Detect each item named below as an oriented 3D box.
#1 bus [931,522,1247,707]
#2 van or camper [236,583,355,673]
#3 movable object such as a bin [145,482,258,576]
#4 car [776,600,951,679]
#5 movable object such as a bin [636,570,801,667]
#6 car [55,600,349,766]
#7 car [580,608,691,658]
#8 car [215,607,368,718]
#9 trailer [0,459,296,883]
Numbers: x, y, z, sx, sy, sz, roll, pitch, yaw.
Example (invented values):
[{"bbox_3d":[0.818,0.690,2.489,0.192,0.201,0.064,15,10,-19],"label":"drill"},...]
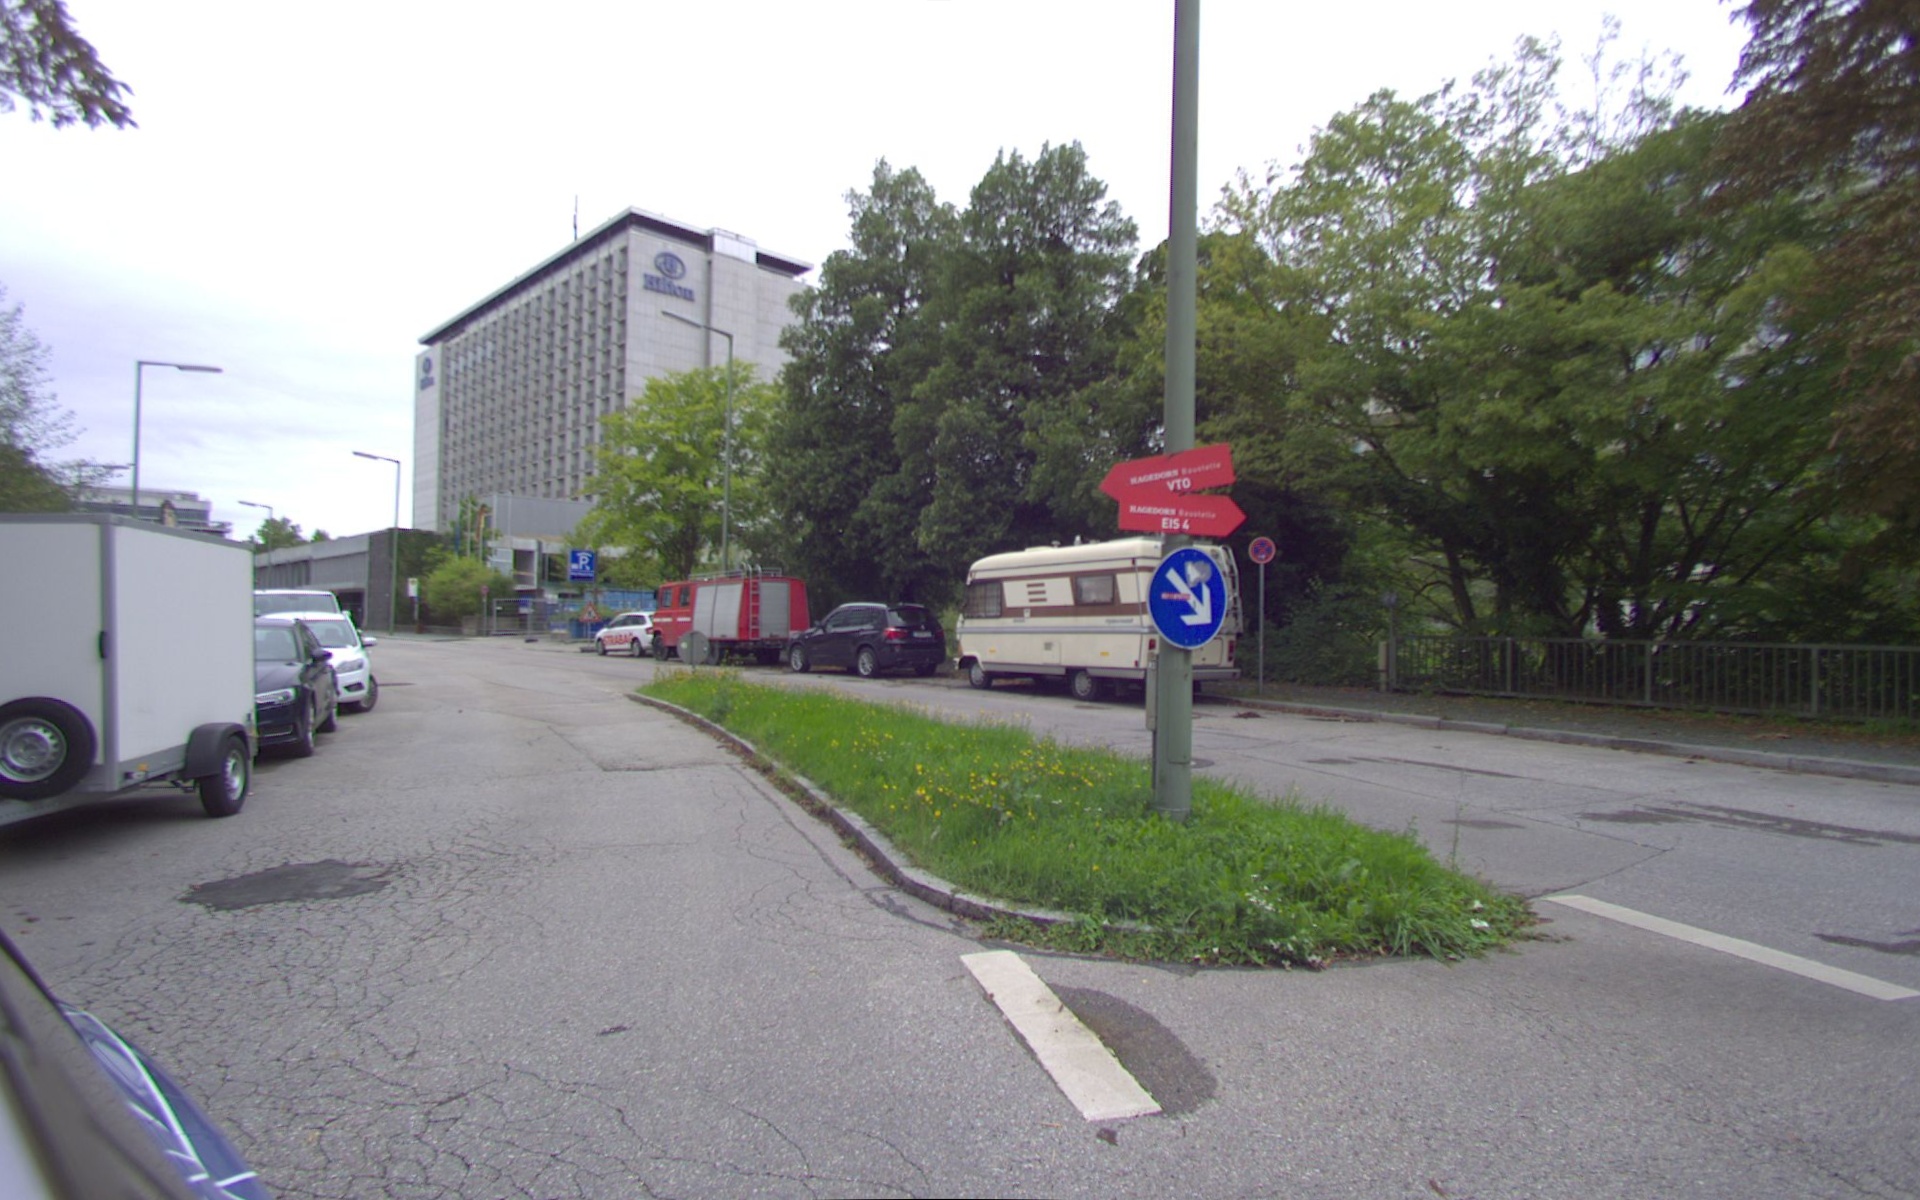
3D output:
[{"bbox_3d":[2.011,0.281,17.870,2.284,2.719,5.749,2,-2,-34],"label":"bus"},{"bbox_3d":[-16.806,0.656,25.466,1.968,2.029,5.387,2,-1,-39],"label":"van or camper"},{"bbox_3d":[-35.977,-3.149,47.870,3.202,3.745,9.016,2,-1,-43],"label":"movable object such as a bin"},{"bbox_3d":[-2.337,0.874,23.609,1.754,1.662,4.466,2,-2,-42],"label":"car"},{"bbox_3d":[-7.023,0.535,28.842,2.077,2.477,6.198,2,-2,-39],"label":"movable object such as a bin"},{"bbox_3d":[-8.047,0.802,11.201,1.845,1.448,4.342,3,-2,-27],"label":"car"},{"bbox_3d":[-10.965,1.088,34.037,4.258,1.561,1.756,-1,-2,44],"label":"car"},{"bbox_3d":[-10.409,0.888,15.948,1.742,1.497,4.233,2,-2,-31],"label":"car"},{"bbox_3d":[-5.912,0.344,6.151,1.784,2.029,4.848,1,-1,-17],"label":"trailer"}]
